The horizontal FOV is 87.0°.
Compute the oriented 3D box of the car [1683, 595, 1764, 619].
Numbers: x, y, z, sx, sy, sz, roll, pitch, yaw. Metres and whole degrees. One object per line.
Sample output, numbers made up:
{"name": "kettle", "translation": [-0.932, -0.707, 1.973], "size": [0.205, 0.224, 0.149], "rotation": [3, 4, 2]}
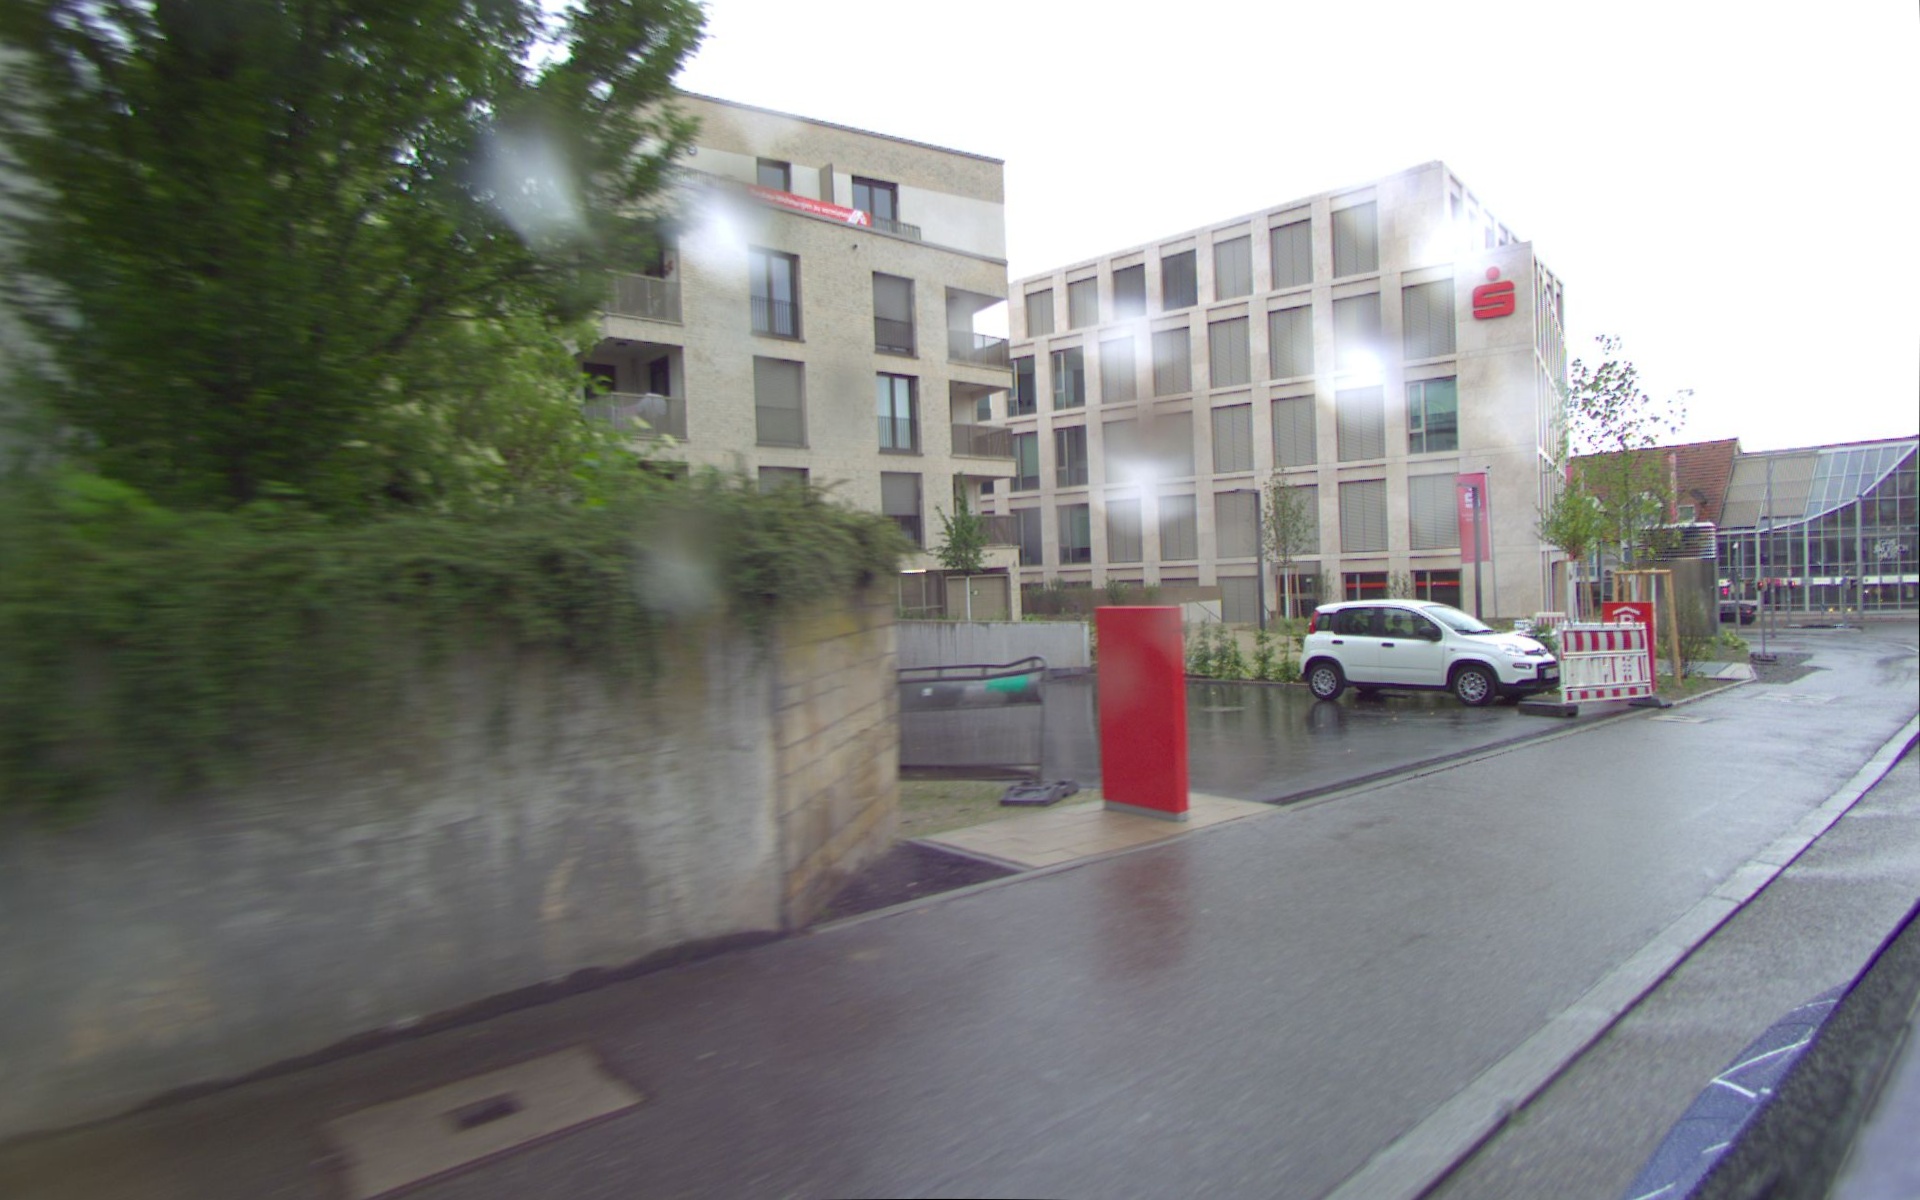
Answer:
{"name": "car", "translation": [51.844, 0.489, 68.807], "size": [1.962, 1.562, 3.999], "rotation": [0, 0, -36]}

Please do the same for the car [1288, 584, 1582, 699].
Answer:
{"name": "car", "translation": [7.135, 0.596, 15.446], "size": [1.746, 1.522, 3.671], "rotation": [0, -2, -42]}
